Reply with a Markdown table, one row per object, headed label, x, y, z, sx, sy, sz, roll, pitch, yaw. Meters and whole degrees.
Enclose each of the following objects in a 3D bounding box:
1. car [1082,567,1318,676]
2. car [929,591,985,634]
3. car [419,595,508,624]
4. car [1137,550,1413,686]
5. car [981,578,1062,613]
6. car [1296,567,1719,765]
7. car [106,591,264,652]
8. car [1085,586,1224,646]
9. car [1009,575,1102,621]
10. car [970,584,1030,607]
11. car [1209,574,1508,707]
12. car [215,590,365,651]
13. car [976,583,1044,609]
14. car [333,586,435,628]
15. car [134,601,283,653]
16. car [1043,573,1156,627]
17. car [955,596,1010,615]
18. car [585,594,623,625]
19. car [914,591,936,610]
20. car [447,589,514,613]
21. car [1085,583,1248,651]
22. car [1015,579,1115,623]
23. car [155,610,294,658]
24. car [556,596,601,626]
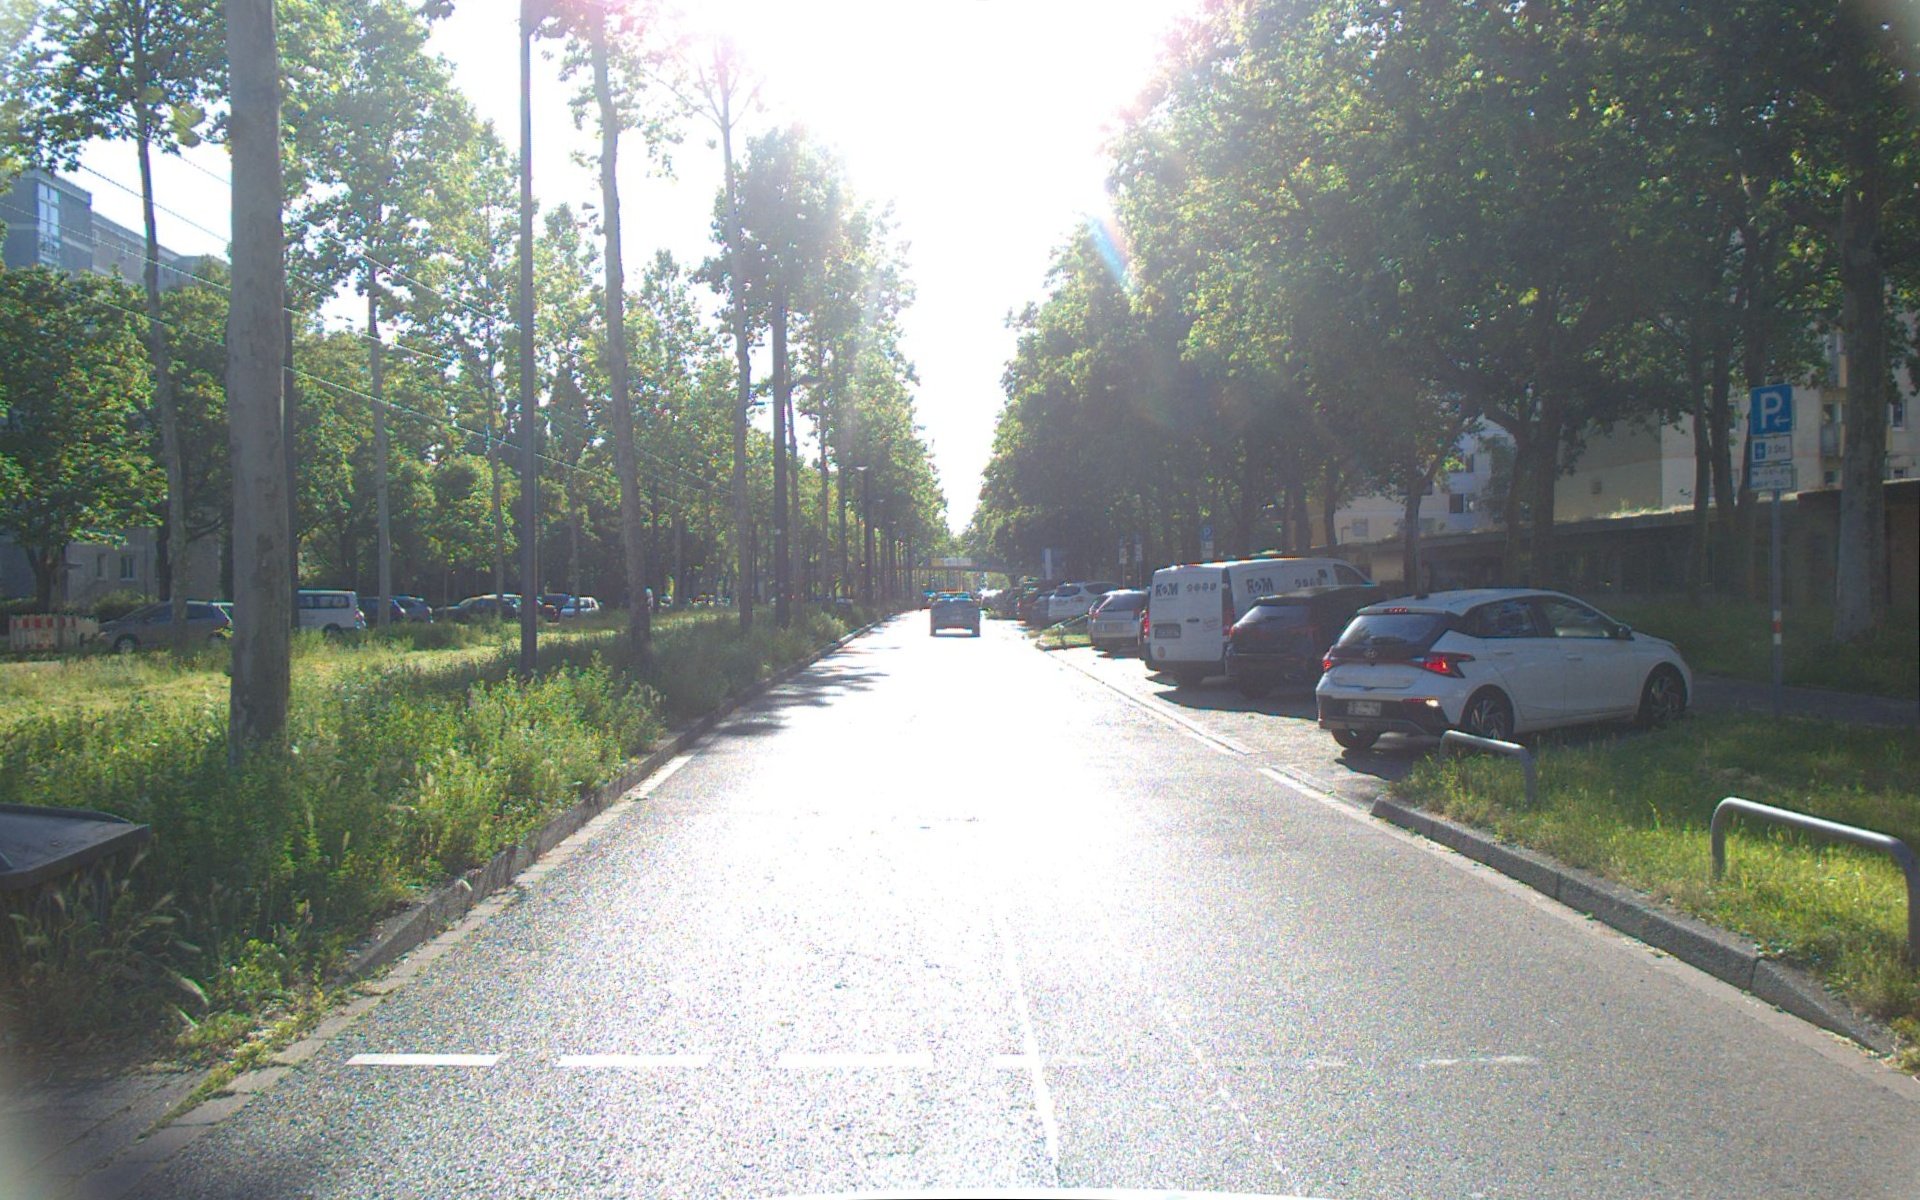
| label | x | y | z | sx | sy | sz | roll | pitch | yaw |
| --- | --- | --- | --- | --- | --- | --- | --- | --- | --- |
| car | 4.381 | 0.347 | 29.784 | 4.465 | 1.734 | 1.733 | -3 | 0 | -42 |
| car | -0.155 | 0.417 | 58.193 | 1.883 | 1.436 | 3.999 | 0 | 1 | -1 |
| car | -25.781 | 0.460 | 85.880 | 4.100 | 1.361 | 1.767 | -2 | 2 | -44 |
| car | 5.048 | 0.234 | 26.155 | 4.630 | 1.885 | 1.803 | -3 | 0 | -41 |
| car | 3.213 | -0.222 | 86.523 | 4.280 | 1.747 | 1.612 | -1 | 1 | -40 |
| car | 5.324 | 0.553 | 15.946 | 3.949 | 1.495 | 1.741 | -4 | 1 | -33 |
| car | -23.451 | 0.638 | 50.120 | 4.052 | 1.675 | 1.625 | -2 | -1 | -43 |
| car | 5.183 | 0.401 | 43.792 | 3.910 | 1.397 | 1.561 | -3 | 1 | -45 |
| car | 4.187 | -0.082 | 72.345 | 4.049 | 1.842 | 1.627 | -3 | 0 | -41 |
| car | 2.852 | -0.335 | 117.397 | 4.298 | 1.449 | 1.826 | -3 | 1 | -45 |
| car | 5.447 | 0.503 | 22.450 | 3.955 | 1.454 | 1.776 | -4 | 1 | -36 |
| car | -24.459 | 0.703 | 60.459 | 4.753 | 2.041 | 1.866 | -1 | 2 | -40 |
| car | 3.260 | -0.269 | 107.158 | 4.461 | 1.468 | 1.826 | -3 | 1 | -45 |
| car | -24.346 | 0.288 | 70.032 | 4.011 | 1.635 | 1.984 | -1 | 2 | -20 |
| car | -24.134 | 0.849 | 53.191 | 4.052 | 1.508 | 1.625 | -2 | 0 | -43 |
| car | 4.968 | -0.016 | 58.717 | 3.995 | 1.734 | 1.734 | -3 | 0 | -42 |
| car | 1.898 | 0.447 | 136.097 | 1.945 | 1.484 | 4.595 | -1 | 0 | 43 |
| car | -26.154 | 0.674 | 121.547 | 1.611 | 2.130 | 4.915 | 2 | 0 | 1 |
| car | -2.940 | 0.036 | 140.107 | 1.811 | 1.562 | 3.866 | -1 | 1 | 0 |
| car | -31.714 | 0.061 | 109.459 | 3.891 | 1.513 | 1.766 | -1 | 0 | -44 |
| car | 5.033 | 0.389 | 39.971 | 4.154 | 1.436 | 1.692 | -3 | 1 | -45 |
| car | 3.963 | 0.032 | 62.164 | 3.760 | 1.496 | 1.624 | -3 | 1 | -45 |
| car | -24.958 | 1.130 | 56.200 | 4.052 | 1.457 | 1.554 | -2 | -1 | -43 |
| car | -20.544 | 0.574 | 89.182 | 1.612 | 1.511 | 3.848 | -2 | 0 | -1 |
